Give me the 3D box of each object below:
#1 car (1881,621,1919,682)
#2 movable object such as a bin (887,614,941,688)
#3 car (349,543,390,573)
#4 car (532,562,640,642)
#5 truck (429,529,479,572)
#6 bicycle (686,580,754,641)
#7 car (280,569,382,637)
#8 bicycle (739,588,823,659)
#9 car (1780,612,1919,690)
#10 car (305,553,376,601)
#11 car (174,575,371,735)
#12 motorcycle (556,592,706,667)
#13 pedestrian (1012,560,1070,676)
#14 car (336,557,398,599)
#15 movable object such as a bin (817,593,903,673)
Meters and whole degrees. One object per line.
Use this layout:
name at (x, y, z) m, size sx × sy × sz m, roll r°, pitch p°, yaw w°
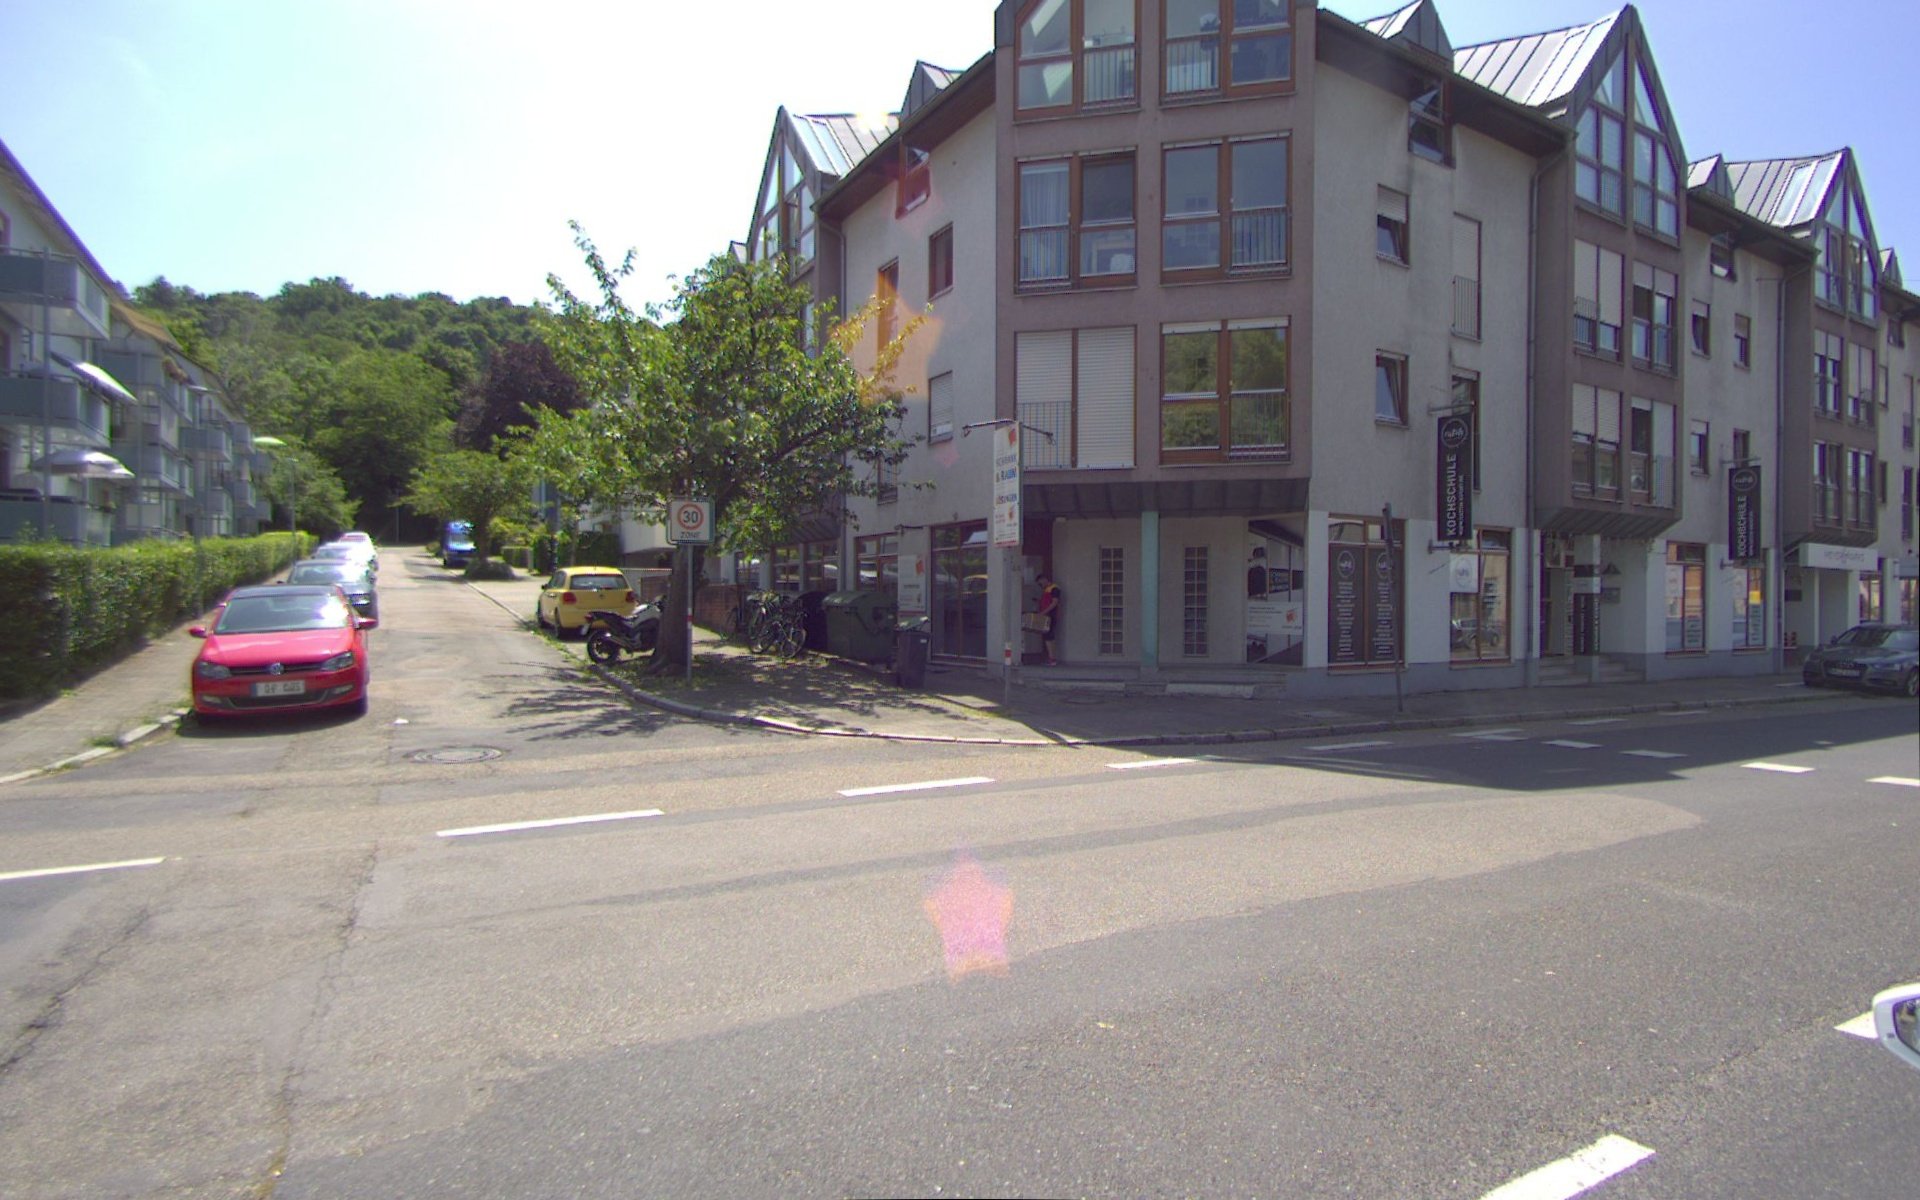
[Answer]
car at (24.680, 1.276, 24.625) m, size 4.275 × 1.402 × 1.831 m, roll 1°, pitch 2°, yaw -30°
movable object such as a bin at (-0.715, 0.784, 15.748) m, size 0.660 × 1.111 × 0.632 m, roll 0°, pitch 0°, yaw 20°
car at (-27.550, -1.998, 46.878) m, size 1.541 × 1.247 × 3.759 m, roll -3°, pitch 5°, yaw -30°
car at (-8.423, -0.036, 22.454) m, size 1.636 × 1.433 × 3.760 m, roll -3°, pitch 6°, yaw -30°
truck at (-26.961, -2.657, 53.387) m, size 2.081 × 2.063 × 5.398 m, roll 1°, pitch 4°, yaw -30°
bicycle at (-5.204, 0.234, 21.697) m, size 0.749 × 1.251 × 2.244 m, roll 1°, pitch -1°, yaw -32°
car at (-13.717, -0.008, 22.040) m, size 1.713 × 1.167 × 3.759 m, roll -3°, pitch 5°, yaw -30°
bicycle at (-3.413, 0.429, 18.984) m, size 0.749 × 1.251 × 2.243 m, roll 1°, pitch -1°, yaw -33°
car at (20.306, 1.070, 22.054) m, size 4.907 × 1.467 × 1.832 m, roll 1°, pitch 2°, yaw -29°
car at (-18.956, -0.761, 30.834) m, size 1.713 × 1.247 × 3.759 m, roll -3°, pitch 5°, yaw -30°
car at (-8.329, 0.518, 12.486) m, size 1.713 × 1.472 × 3.966 m, roll -1°, pitch 4°, yaw -31°
motorcycle at (-5.769, 0.476, 17.764) m, size 0.915 × 1.049 × 2.375 m, roll 4°, pitch 7°, yaw 41°
pedestrian at (1.454, 0.316, 18.028) m, size 0.830 × 2.041 × 0.594 m, roll 1°, pitch 1°, yaw -37°
car at (-20.806, -0.821, 35.283) m, size 1.713 × 1.247 × 3.759 m, roll -3°, pitch 5°, yaw -30°
movable object such as a bin at (-1.846, 0.587, 18.417) m, size 1.076 × 1.385 × 1.265 m, roll 1°, pitch 1°, yaw -35°
